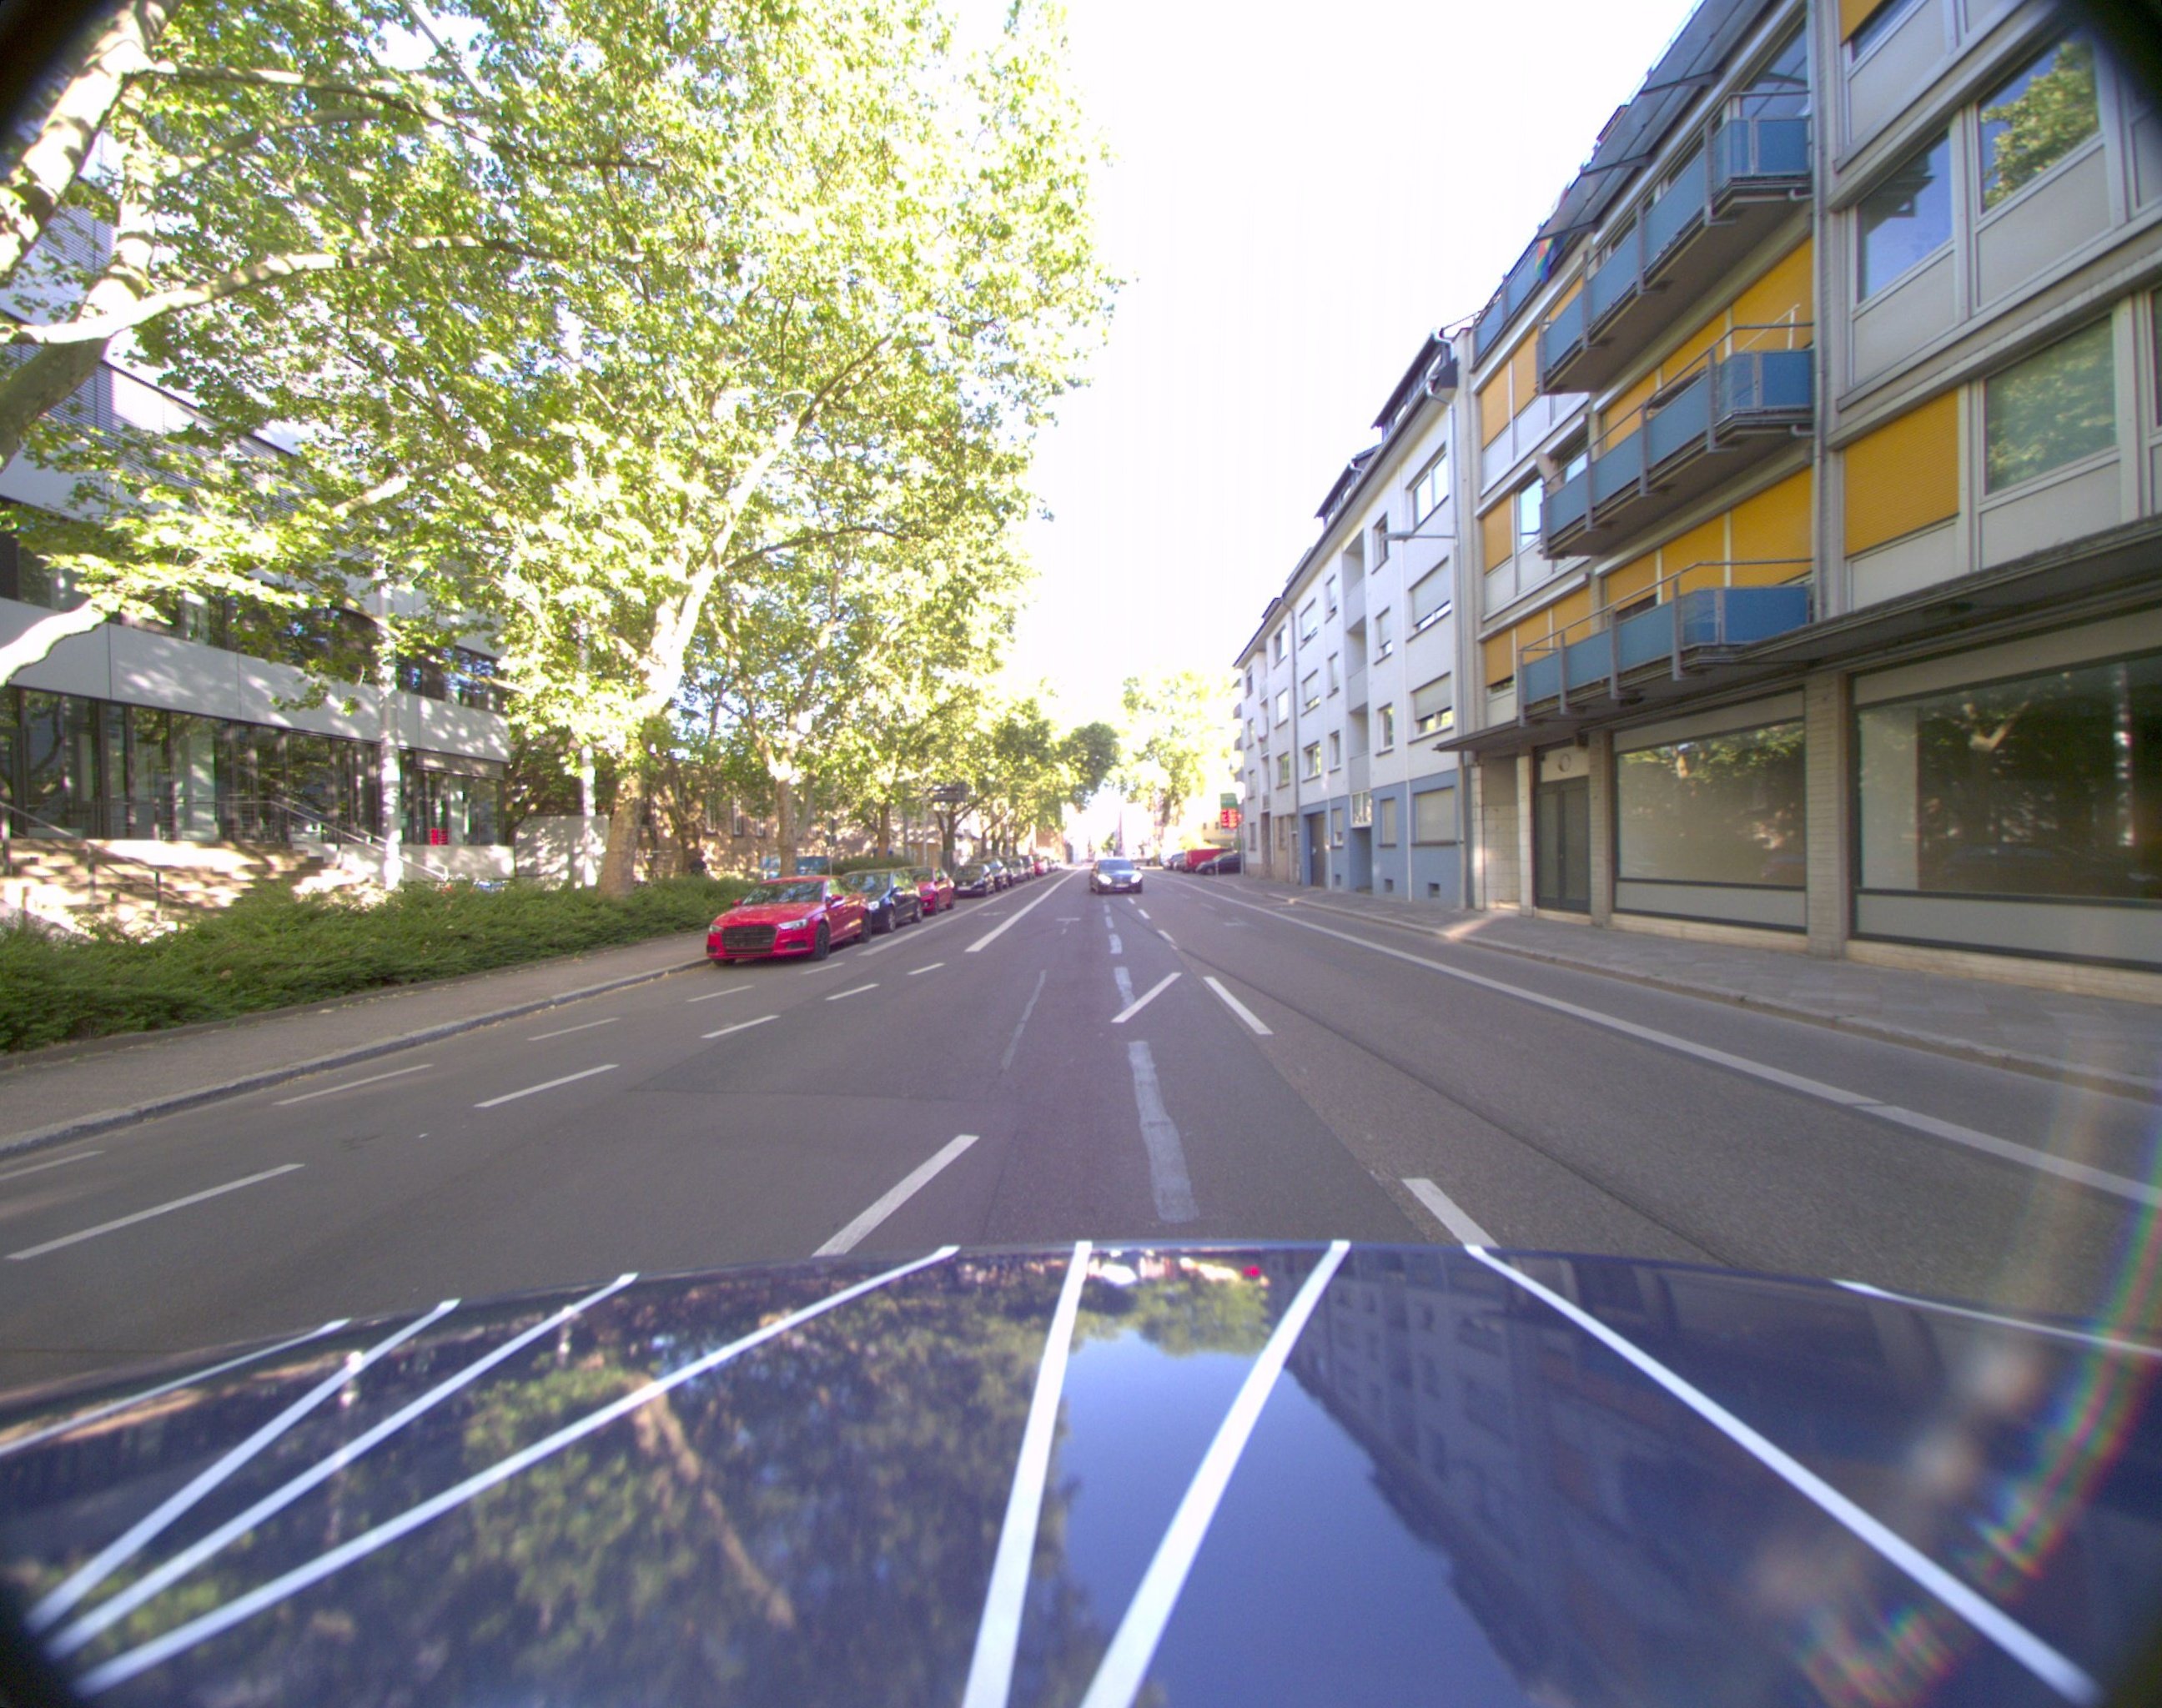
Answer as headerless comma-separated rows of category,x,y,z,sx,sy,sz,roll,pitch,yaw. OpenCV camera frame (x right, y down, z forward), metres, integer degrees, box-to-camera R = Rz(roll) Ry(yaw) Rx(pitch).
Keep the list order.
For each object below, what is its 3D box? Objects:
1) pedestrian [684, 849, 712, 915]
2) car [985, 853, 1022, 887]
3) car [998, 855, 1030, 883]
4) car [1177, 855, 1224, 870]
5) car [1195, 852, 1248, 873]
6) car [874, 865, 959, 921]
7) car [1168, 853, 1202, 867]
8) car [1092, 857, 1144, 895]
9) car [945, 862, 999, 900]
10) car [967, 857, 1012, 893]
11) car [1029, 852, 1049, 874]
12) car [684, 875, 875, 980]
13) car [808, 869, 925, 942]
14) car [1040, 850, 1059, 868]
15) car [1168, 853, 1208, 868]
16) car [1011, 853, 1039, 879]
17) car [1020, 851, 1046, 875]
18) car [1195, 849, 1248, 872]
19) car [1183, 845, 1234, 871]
pedestrian,-11.861,0.842,23.537,0.552,2.002,0.562,-2,1,-11
car,-4.455,0.855,44.230,1.634,1.781,4.576,-2,1,0
car,-4.354,0.942,50.102,1.634,1.604,4.576,-2,1,0
car,9.812,0.694,62.577,3.687,1.122,1.345,-2,1,2
car,10.091,0.591,54.718,3.508,1.380,1.490,-2,1,2
car,-5.014,1.135,23.674,1.692,1.441,3.923,-2,1,1
car,10.324,0.583,75.456,3.271,1.238,1.345,-2,1,2
car,1.481,0.870,31.956,1.753,1.423,4.264,-2,0,-2
car,-4.694,1.113,33.226,1.692,1.414,3.923,-2,1,0
car,-4.519,0.994,38.097,1.634,1.569,4.231,-2,1,0
car,-3.902,0.809,70.993,1.599,1.835,3.769,-2,1,0
car,-5.163,1.181,13.647,1.794,1.384,3.999,-2,1,0
car,-5.052,1.164,18.400,1.669,1.410,3.697,-2,1,1
car,-3.807,0.589,92.144,1.998,2.002,4.000,-2,0,1
car,10.268,0.628,73.018,3.687,1.238,1.345,-2,1,2
car,-4.038,0.817,55.229,1.634,1.725,3.769,-2,1,0
car,-4.170,0.725,66.081,1.915,1.940,3.769,-2,1,0
car,10.534,0.486,57.087,3.687,1.503,1.490,-2,1,2
car,10.061,0.322,59.932,3.688,1.897,1.490,-2,-1,-1
